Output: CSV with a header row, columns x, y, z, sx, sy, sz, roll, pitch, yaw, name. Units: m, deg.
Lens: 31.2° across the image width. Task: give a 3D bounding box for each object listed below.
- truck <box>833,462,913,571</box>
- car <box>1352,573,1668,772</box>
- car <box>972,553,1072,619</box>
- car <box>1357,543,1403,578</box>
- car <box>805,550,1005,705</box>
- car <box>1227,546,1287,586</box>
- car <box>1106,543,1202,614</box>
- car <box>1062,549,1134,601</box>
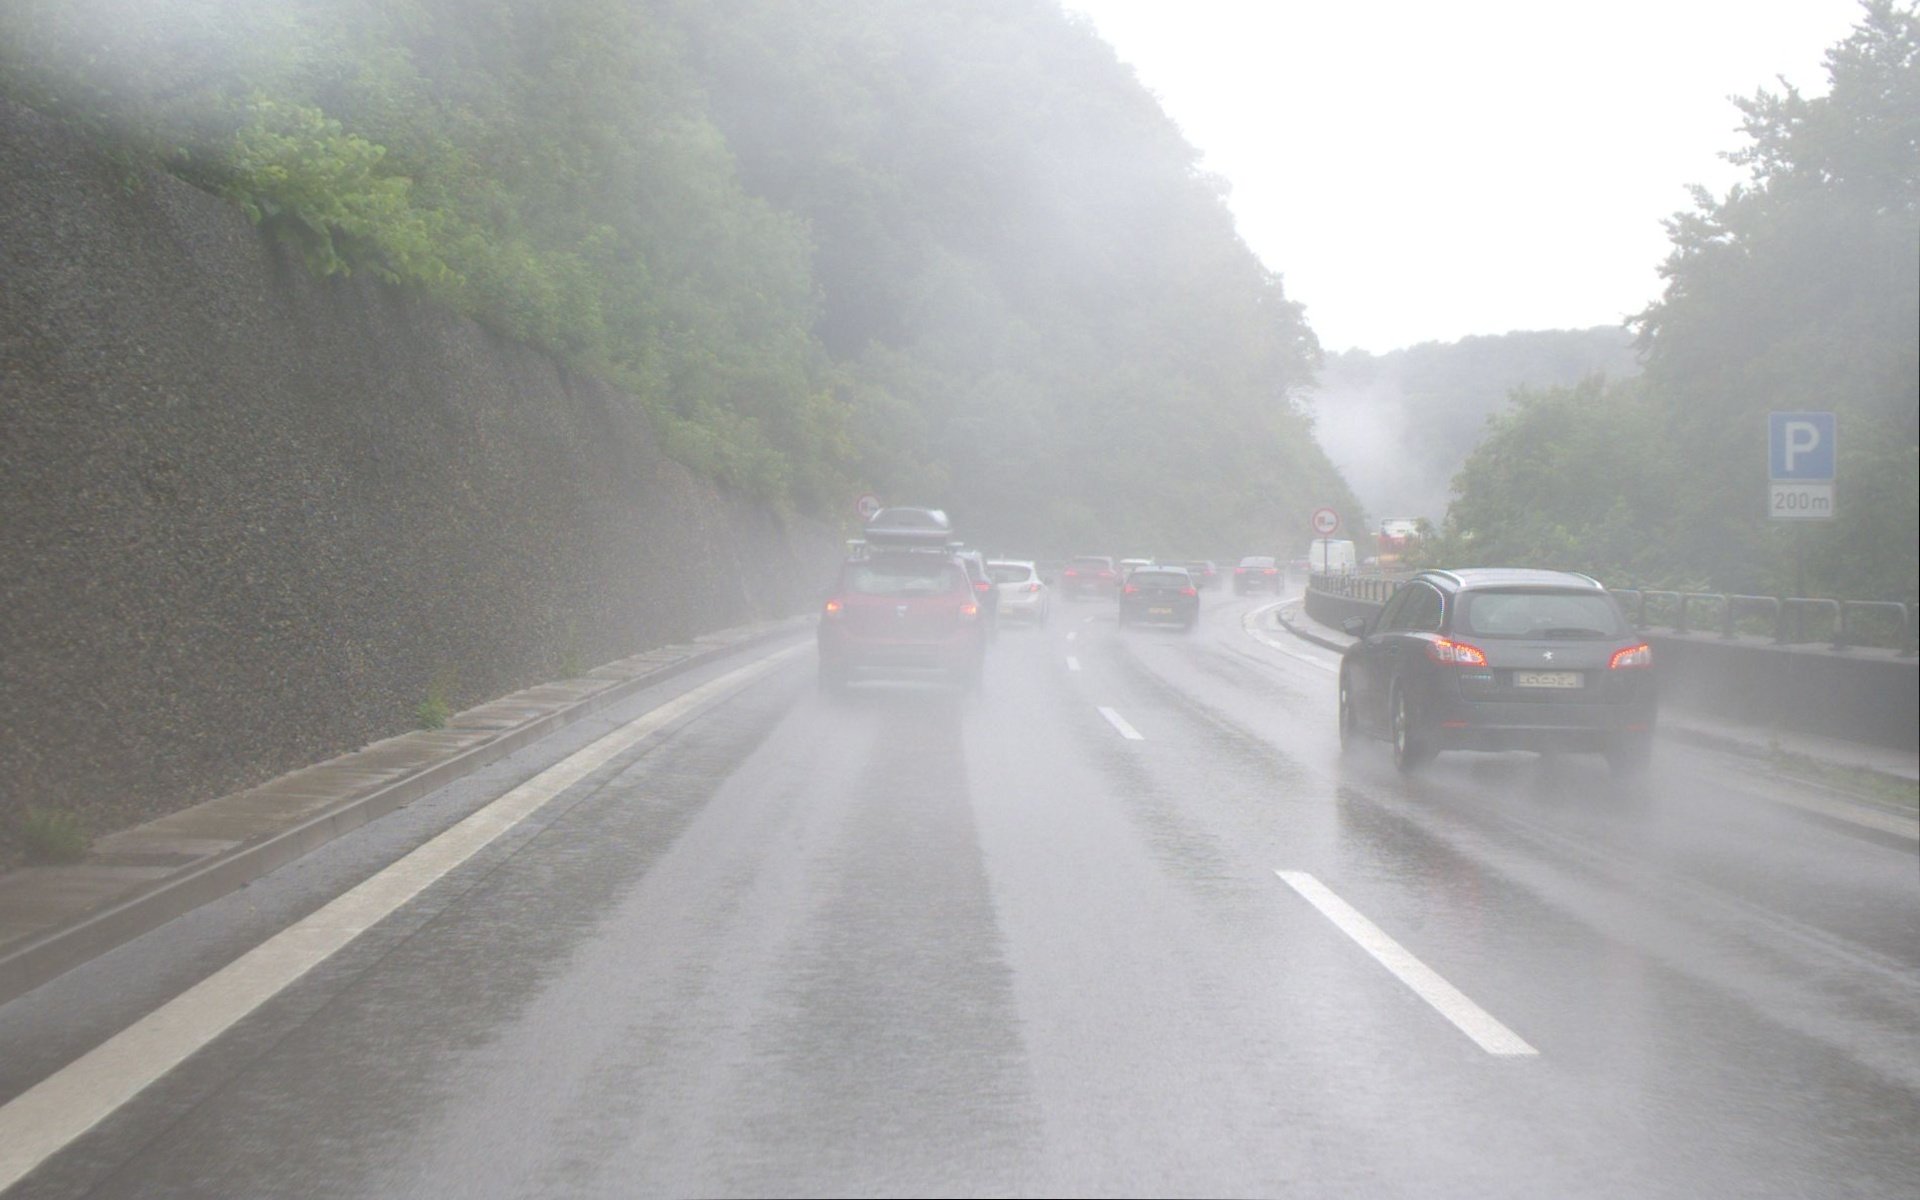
x,y,z,sx,sy,sz,roll,pitch,yaw,name
-2.257,-2.168,90.390,1.993,2.741,5.587,0,1,-1,truck
3.957,0.476,25.325,1.800,1.303,4.000,0,1,2,car
1.284,-0.319,72.860,1.993,1.349,4.000,0,1,-1,car
24.394,-2.321,199.827,2.449,2.007,4.735,1,1,5,car
-0.631,0.248,36.474,1.993,1.546,4.000,0,1,-2,car
12.948,-1.501,149.730,1.826,1.713,3.997,1,1,16,car
4.355,-0.512,77.665,1.993,1.546,4.000,0,1,1,car
4.742,-0.848,117.840,1.868,1.689,3.998,-2,0,10,car
